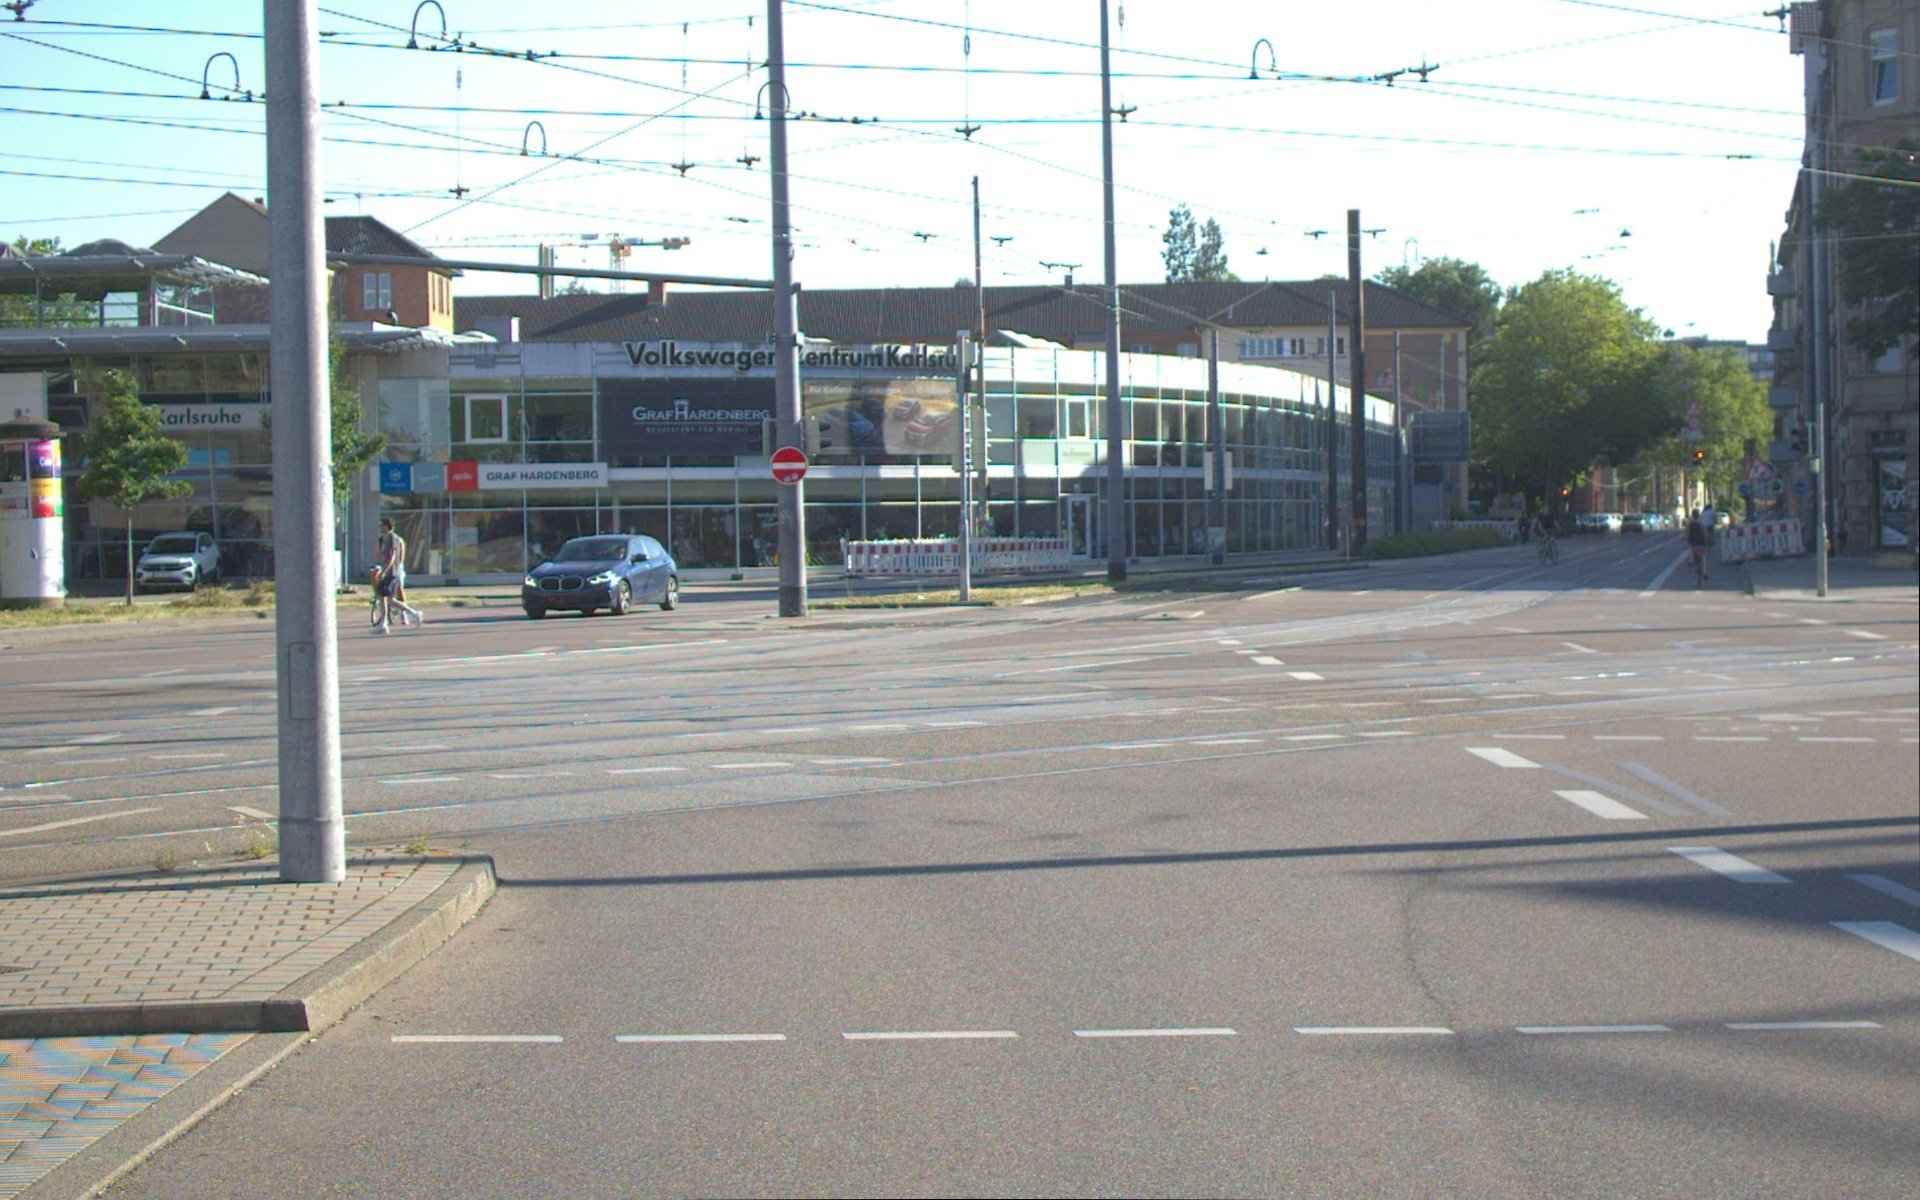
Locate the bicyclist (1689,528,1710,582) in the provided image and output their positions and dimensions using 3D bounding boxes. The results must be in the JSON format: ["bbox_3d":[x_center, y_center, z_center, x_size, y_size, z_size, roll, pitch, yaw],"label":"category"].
[{"bbox_3d":[15.412,-0.930,71.659,0.408,1.112,0.399,1,0,11],"label":"bicyclist"}]

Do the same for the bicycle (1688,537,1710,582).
[{"bbox_3d":[15.386,-0.838,71.574,0.410,0.938,1.844,1,1,12],"label":"bicycle"}]

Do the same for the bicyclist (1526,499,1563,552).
[{"bbox_3d":[17.562,-2.248,103.246,0.771,1.571,0.762,1,0,-29],"label":"bicyclist"}]

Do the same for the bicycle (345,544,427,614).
[{"bbox_3d":[-9.942,-0.369,59.644,0.613,1.185,1.867,1,1,17],"label":"bicycle"}]

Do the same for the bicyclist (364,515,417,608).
[{"bbox_3d":[-9.894,-0.668,59.761,0.598,1.610,0.822,1,0,17],"label":"bicyclist"}]

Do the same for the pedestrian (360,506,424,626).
[{"bbox_3d":[-9.005,-0.545,54.554,0.795,1.880,0.758,1,0,7],"label":"pedestrian"}]

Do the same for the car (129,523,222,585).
[{"bbox_3d":[-22.645,-1.329,99.401,1.993,1.744,4.001,1,1,-4],"label":"car"}]

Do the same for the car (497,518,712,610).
[{"bbox_3d":[-6.348,-0.638,61.765,1.996,1.579,3.994,1,1,27],"label":"car"}]

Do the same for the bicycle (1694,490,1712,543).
[{"bbox_3d":[28.603,-3.204,132.390,0.618,2.007,2.398,1,0,13],"label":"bicycle"}]

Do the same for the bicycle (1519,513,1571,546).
[{"bbox_3d":[17.553,-2.112,103.242,0.657,0.949,1.600,1,1,-30],"label":"bicycle"}]
